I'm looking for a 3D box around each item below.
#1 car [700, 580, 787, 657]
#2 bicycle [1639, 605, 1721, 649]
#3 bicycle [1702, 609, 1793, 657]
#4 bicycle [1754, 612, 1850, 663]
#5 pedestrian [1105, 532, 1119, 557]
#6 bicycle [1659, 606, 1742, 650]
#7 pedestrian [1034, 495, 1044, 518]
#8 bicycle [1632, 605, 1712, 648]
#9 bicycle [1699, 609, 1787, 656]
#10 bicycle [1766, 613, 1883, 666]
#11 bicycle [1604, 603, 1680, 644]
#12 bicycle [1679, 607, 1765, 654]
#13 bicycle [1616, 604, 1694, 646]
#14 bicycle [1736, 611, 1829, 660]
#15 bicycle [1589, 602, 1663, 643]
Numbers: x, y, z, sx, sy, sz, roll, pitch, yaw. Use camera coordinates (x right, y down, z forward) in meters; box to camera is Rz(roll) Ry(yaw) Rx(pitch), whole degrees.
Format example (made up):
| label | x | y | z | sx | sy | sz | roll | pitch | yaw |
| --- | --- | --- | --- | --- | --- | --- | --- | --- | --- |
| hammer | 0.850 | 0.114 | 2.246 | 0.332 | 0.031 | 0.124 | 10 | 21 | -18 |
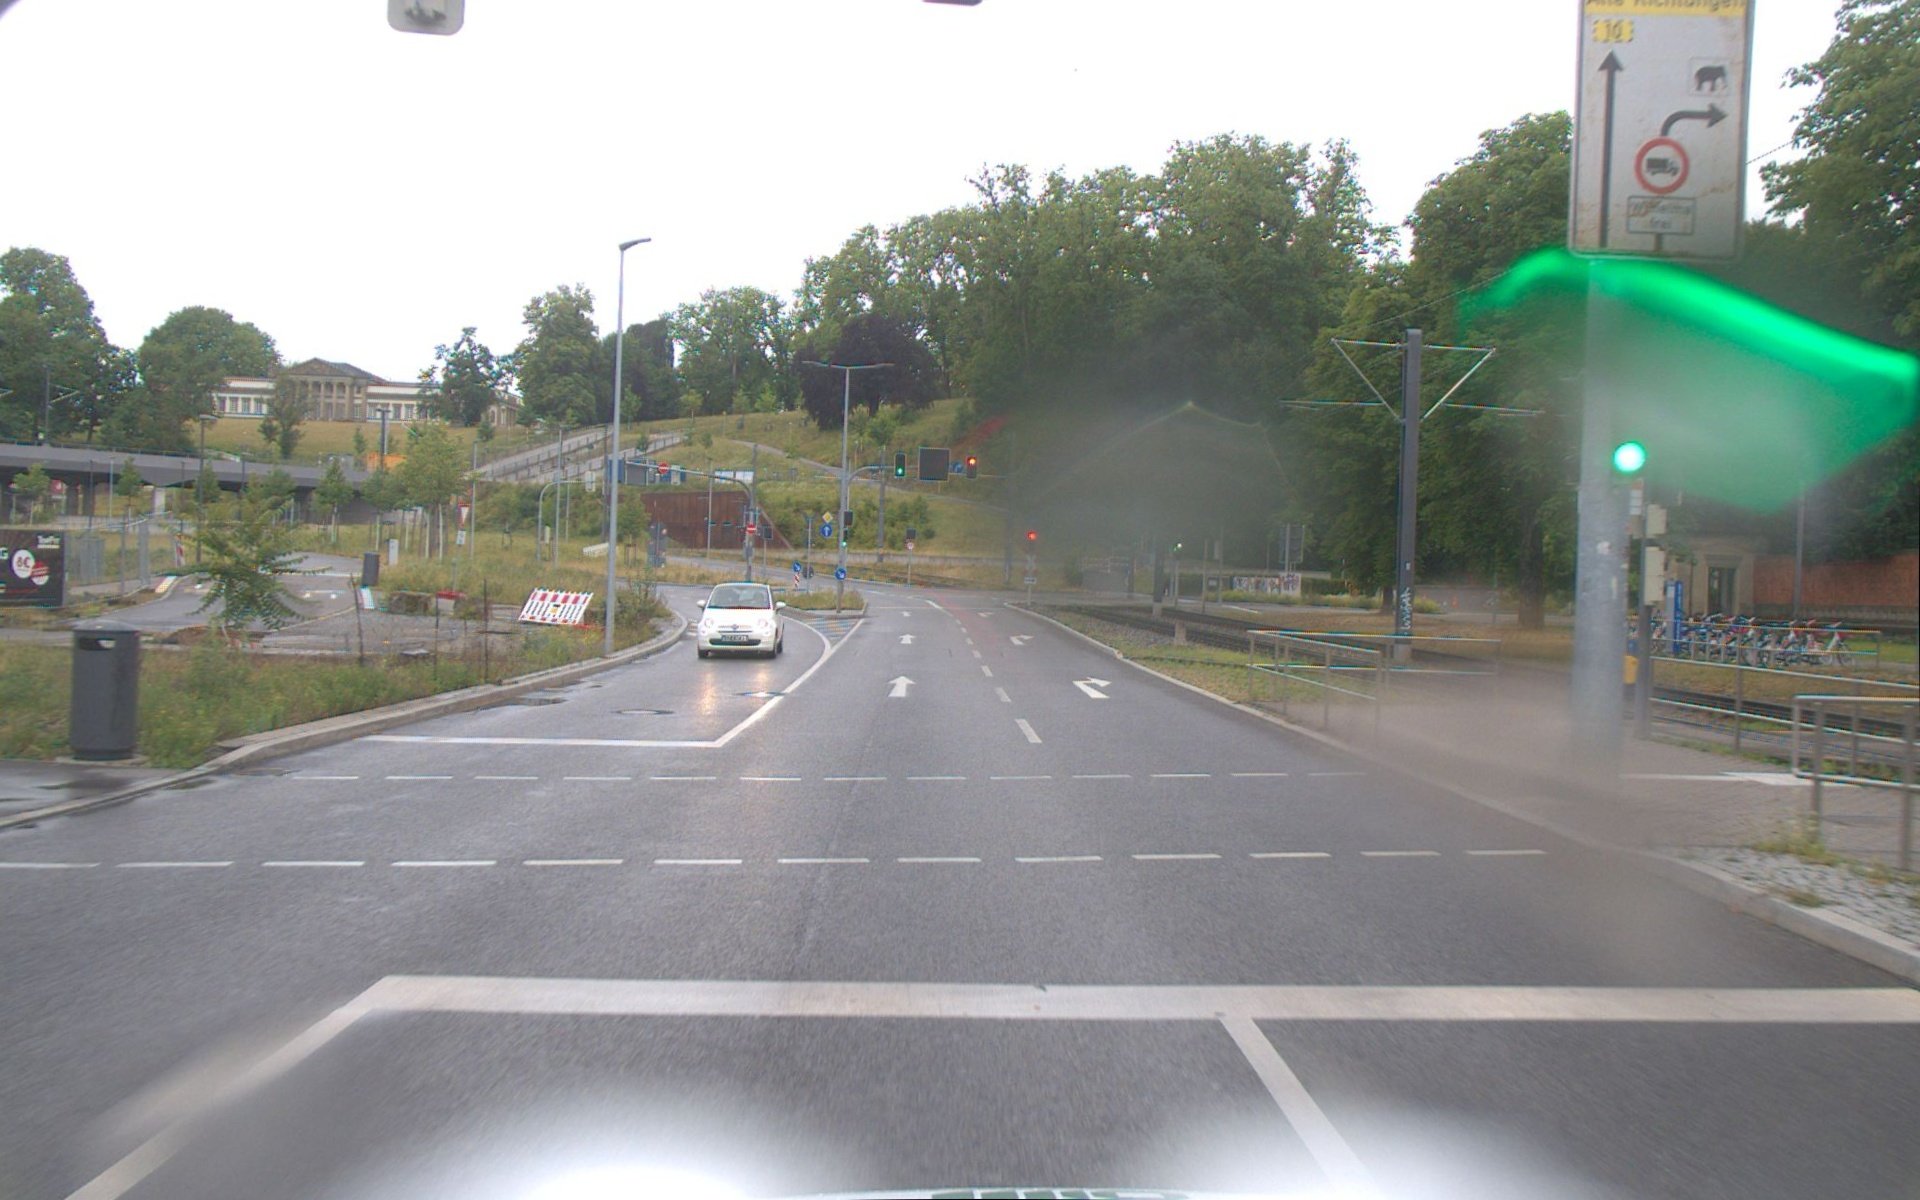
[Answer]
| label | x | y | z | sx | sy | sz | roll | pitch | yaw |
| --- | --- | --- | --- | --- | --- | --- | --- | --- | --- |
| car | -4.506 | 0.357 | 34.745 | 1.555 | 1.517 | 3.712 | 1 | 1 | -4 |
| bicycle | 18.299 | 0.681 | 42.064 | 1.798 | 1.050 | 0.652 | 1 | 1 | -4 |
| bicycle | 18.464 | 0.769 | 38.795 | 1.810 | 1.050 | 0.652 | 1 | 1 | -4 |
| bicycle | 18.633 | 0.826 | 36.615 | 1.774 | 1.050 | 0.652 | 1 | 1 | -4 |
| pedestrian | 11.546 | -4.239 | 125.736 | 0.937 | 1.812 | 1.124 | 4 | 2 | 8 |
| bicycle | 18.521 | 0.701 | 41.404 | 1.774 | 1.050 | 0.652 | 1 | 1 | -4 |
| pedestrian | 7.121 | -8.458 | 149.366 | 0.776 | 2.047 | 0.654 | -2 | 7 | -17 |
| bicycle | 18.399 | 0.680 | 42.766 | 1.774 | 1.050 | 0.652 | 1 | 1 | -4 |
| bicycle | 18.471 | 0.759 | 39.027 | 1.774 | 1.050 | 0.652 | 1 | 1 | -4 |
| bicycle | 18.659 | 0.849 | 35.699 | 2.178 | 1.050 | 0.689 | 1 | 1 | -4 |
| bicycle | 18.341 | 0.634 | 44.489 | 1.774 | 1.050 | 0.652 | 1 | 1 | -4 |
| bicycle | 18.350 | 0.730 | 39.855 | 1.774 | 1.052 | 0.652 | 1 | 1 | -4 |
| bicycle | 18.338 | 0.652 | 43.640 | 1.774 | 1.050 | 0.652 | 1 | 1 | -4 |
| bicycle | 18.619 | 0.809 | 37.470 | 1.774 | 1.050 | 0.652 | 1 | 1 | -4 |
| bicycle | 18.270 | 0.609 | 45.400 | 1.774 | 1.050 | 0.652 | 1 | 1 | -4 |
